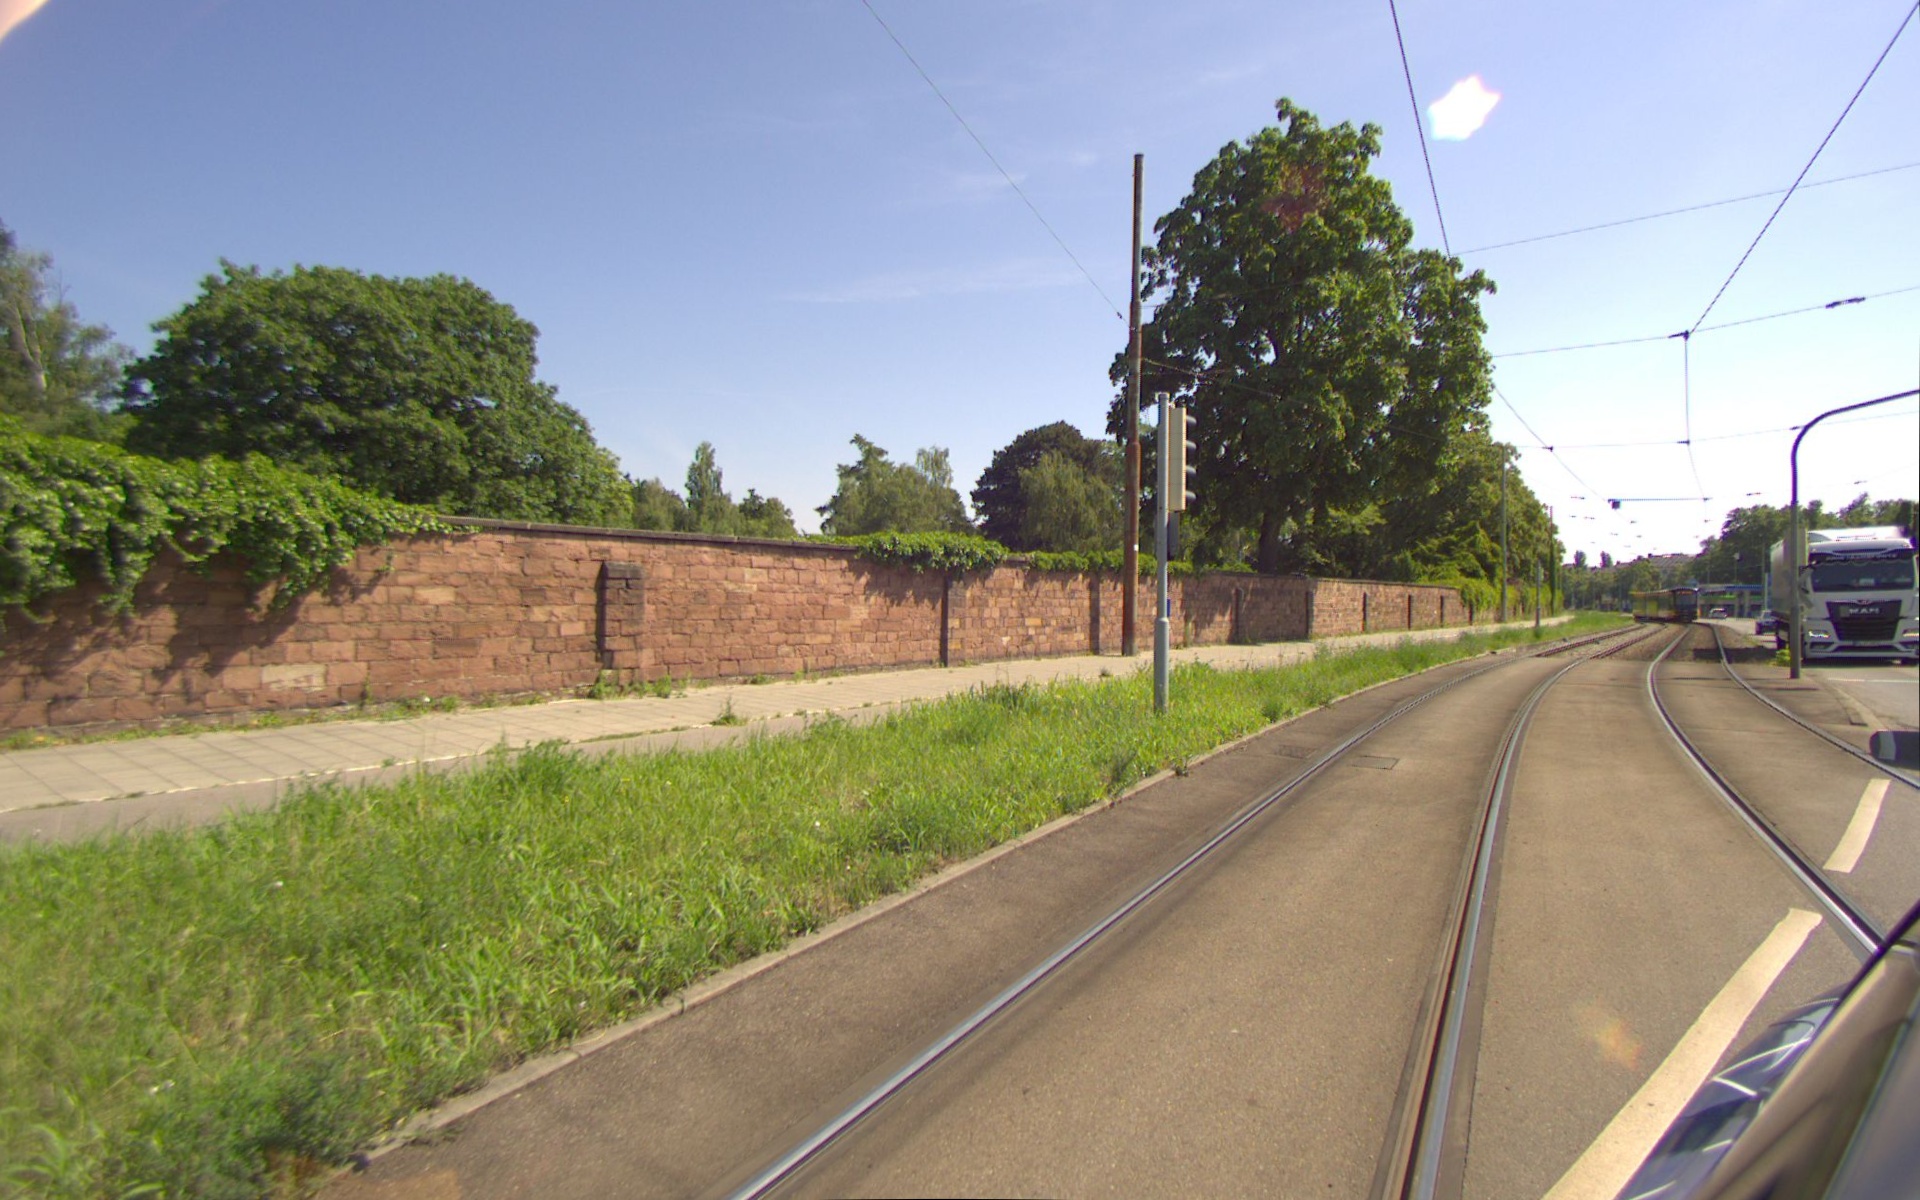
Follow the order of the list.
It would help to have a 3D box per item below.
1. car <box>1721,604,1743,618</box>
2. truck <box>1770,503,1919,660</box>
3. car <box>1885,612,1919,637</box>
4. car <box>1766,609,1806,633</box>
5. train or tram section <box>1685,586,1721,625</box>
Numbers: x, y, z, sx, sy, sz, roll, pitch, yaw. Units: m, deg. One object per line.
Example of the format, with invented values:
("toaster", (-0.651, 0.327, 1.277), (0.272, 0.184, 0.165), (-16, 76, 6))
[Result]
("car", (112.316, 1.586, 147.320), (1.982, 2.039, 3.959), (1, 0, 29))
("truck", (28.738, -0.443, 32.709), (3.373, 4.122, 14.095), (-2, -1, 37))
("car", (56.126, 1.446, 59.760), (1.781, 1.427, 4.246), (3, 1, 37))
("car", (47.988, 1.194, 58.827), (1.692, 1.271, 3.945), (0, 0, 38))
("train or tram section", (76.097, 0.539, 103.555), (2.663, 3.699, 15.099), (-2, -1, 37))
